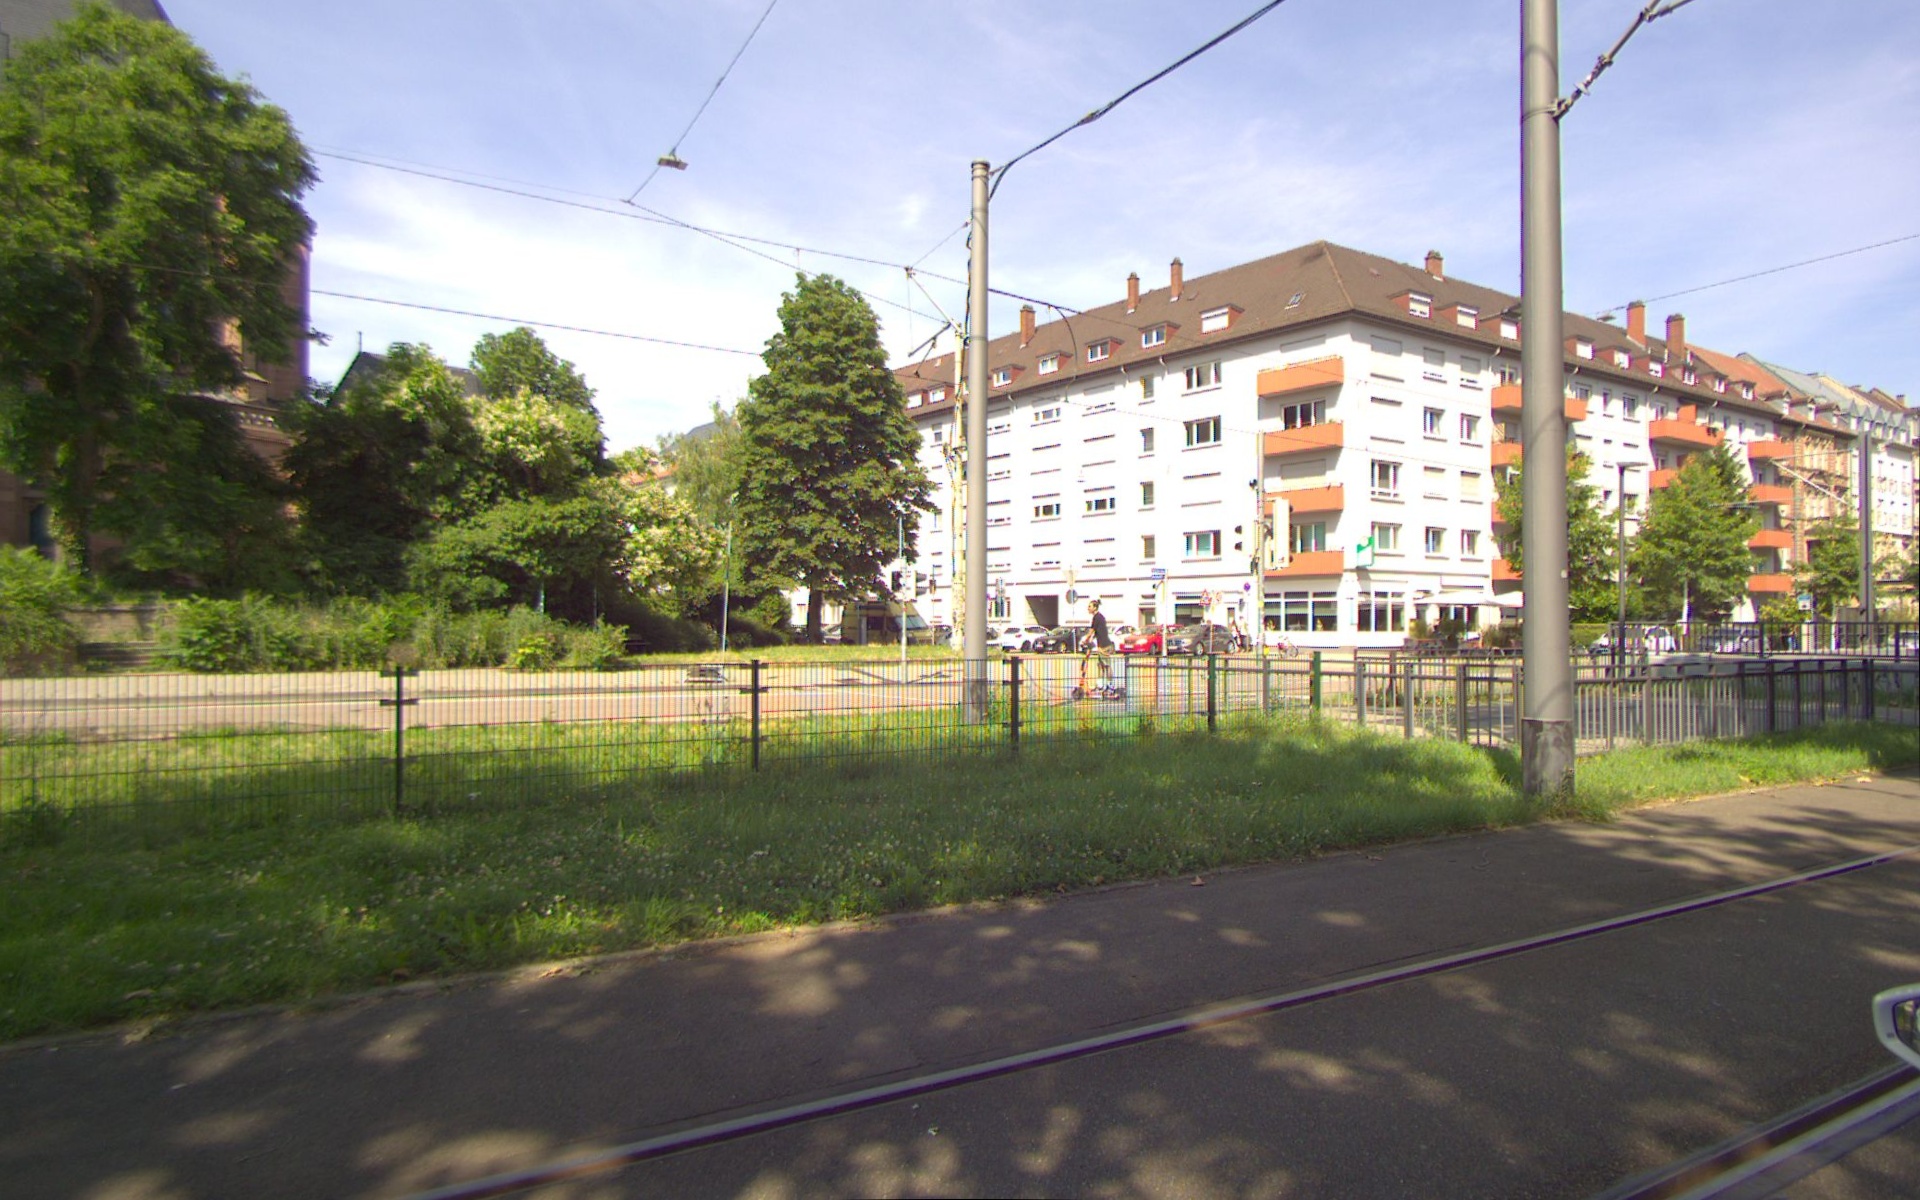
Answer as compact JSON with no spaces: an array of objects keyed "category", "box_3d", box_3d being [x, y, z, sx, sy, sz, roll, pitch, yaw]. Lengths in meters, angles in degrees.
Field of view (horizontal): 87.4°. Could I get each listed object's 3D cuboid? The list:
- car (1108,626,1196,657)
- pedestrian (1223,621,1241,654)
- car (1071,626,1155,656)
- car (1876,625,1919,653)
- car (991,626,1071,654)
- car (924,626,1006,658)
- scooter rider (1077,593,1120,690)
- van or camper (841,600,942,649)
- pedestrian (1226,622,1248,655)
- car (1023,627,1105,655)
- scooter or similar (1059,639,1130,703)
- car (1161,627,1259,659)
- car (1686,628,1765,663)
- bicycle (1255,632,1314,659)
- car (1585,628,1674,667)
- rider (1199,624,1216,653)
[{"category":"car","box_3d":[9.271,1.974,48.393,4.129,1.425,1.918,1,-2,-38]},{"category":"pedestrian","box_3d":[13.129,1.812,48.479,0.679,1.593,0.544,-1,-1,36]},{"category":"car","box_3d":[7.727,2.031,50.708,4.129,1.425,1.918,1,-2,-38]},{"category":"car","box_3d":[53.012,2.184,56.246,3.961,1.518,1.758,1,-2,-36]},{"category":"car","box_3d":[3.872,2.135,54.548,4.129,1.425,1.917,1,-1,-38]},{"category":"car","box_3d":[0.211,1.967,47.635,3.702,1.425,1.823,-1,-2,44]},{"category":"scooter rider","box_3d":[2.741,0.815,19.880,0.657,1.891,0.663,0,-1,-12]},{"category":"van or camper","box_3d":[-3.621,1.261,52.026,2.228,2.360,5.704,1,-2,-42]},{"category":"pedestrian","box_3d":[13.524,1.876,48.968,0.846,1.593,0.688,-1,-1,36]},{"category":"car","box_3d":[5.438,2.111,52.271,4.129,1.425,1.918,1,-2,-38]},{"category":"scooter or similar","box_3d":[2.659,1.385,19.857,1.248,1.220,0.656,0,-1,-11]},{"category":"car","box_3d":[11.440,1.921,45.800,4.598,1.394,1.821,1,-2,-36]},{"category":"car","box_3d":[34.603,2.040,45.358,3.961,1.518,1.759,1,-3,-36]},{"category":"bicycle","box_3d":[14.202,1.961,43.935,2.779,1.152,0.905,1,-1,-34]},{"category":"car","box_3d":[27.337,1.907,40.984,3.961,1.518,1.759,1,-3,-36]},{"category":"rider","box_3d":[12.107,1.878,49.194,0.616,1.442,0.587,-1,-1,44]}]
